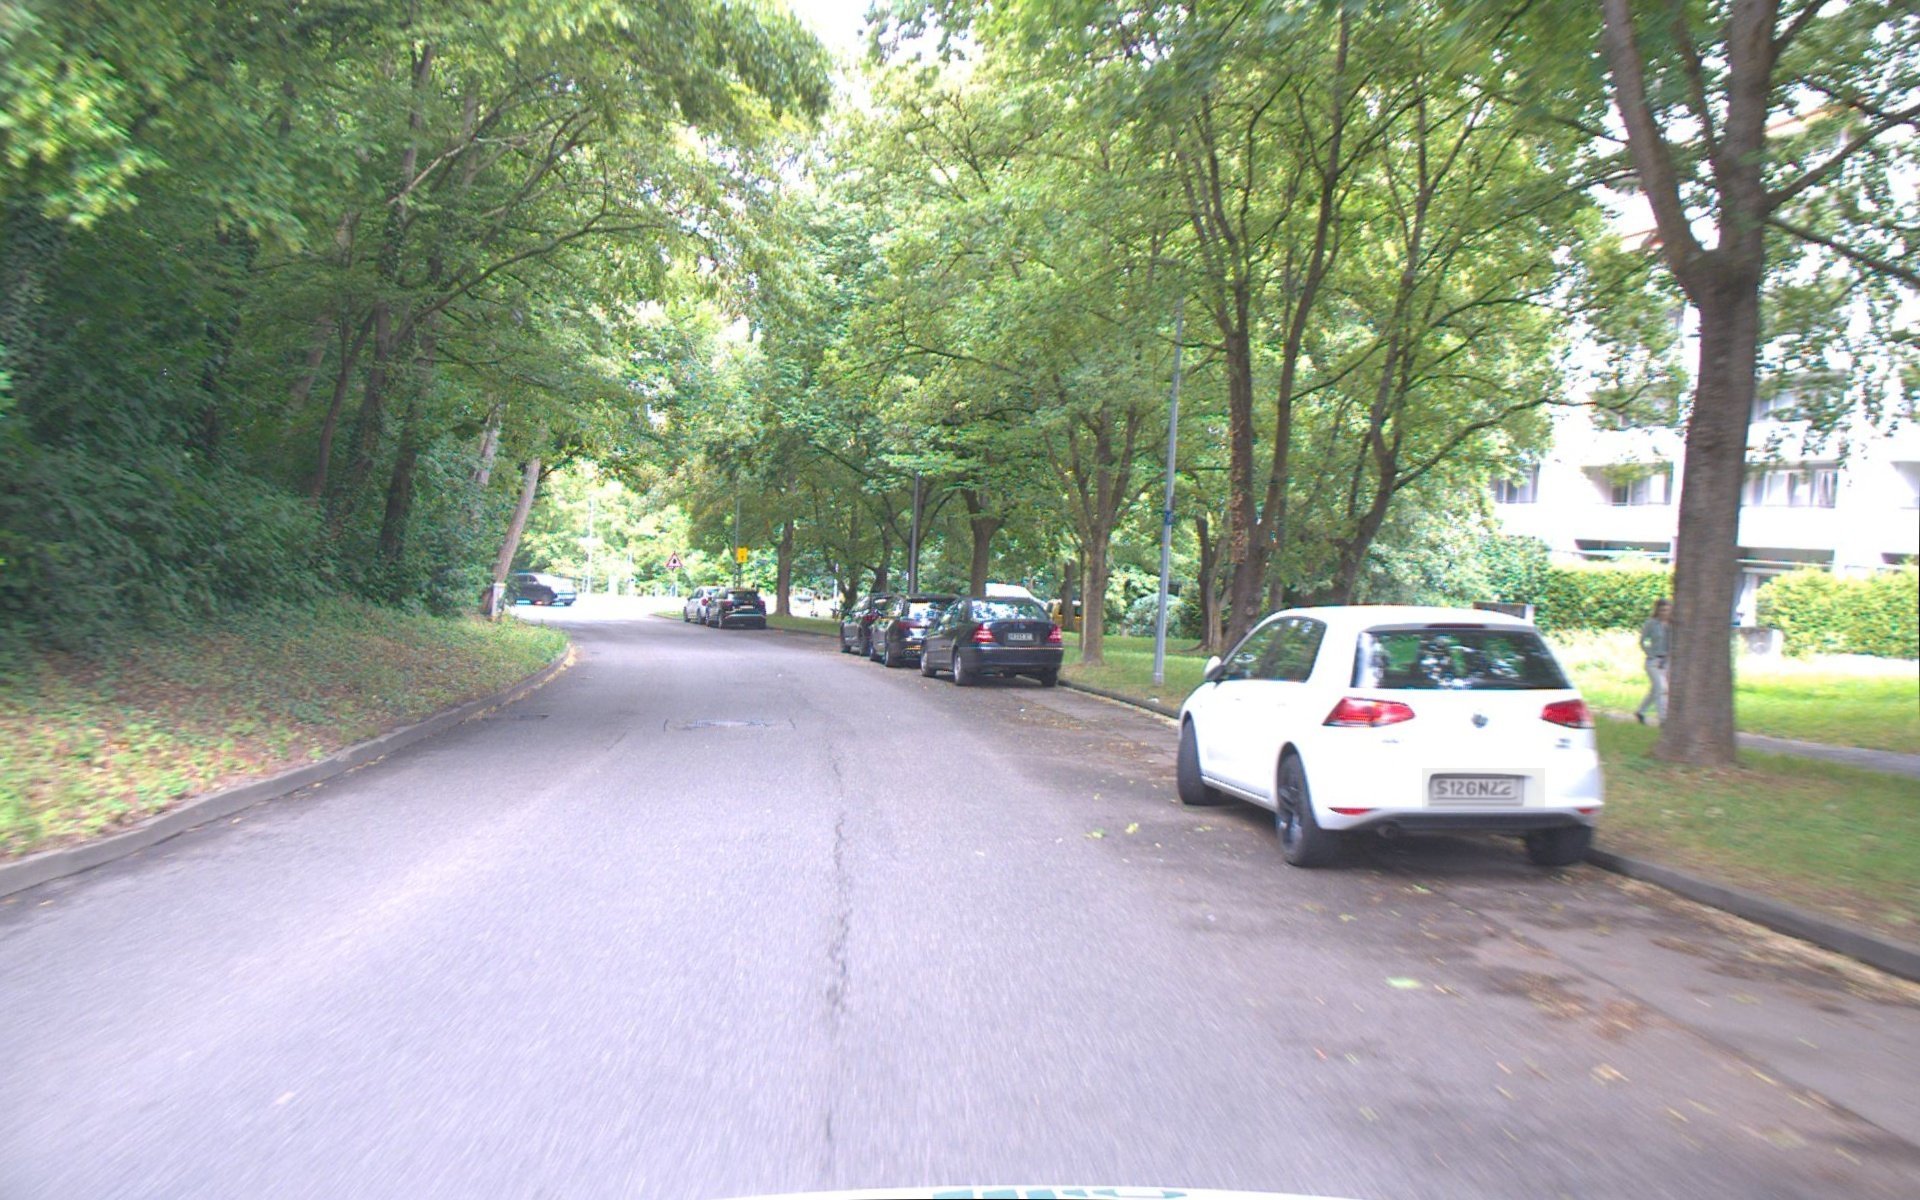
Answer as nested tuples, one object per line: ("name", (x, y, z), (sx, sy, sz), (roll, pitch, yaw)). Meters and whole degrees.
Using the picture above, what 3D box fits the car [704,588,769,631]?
("car", (-8.678, 0.338, 63.913), (1.746, 1.549, 4.162), (2, 0, -18))

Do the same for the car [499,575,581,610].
("car", (-22.483, -0.407, 88.541), (4.144, 1.715, 1.795), (2, 0, 31))

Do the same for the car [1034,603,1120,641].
("car", (6.389, 1.185, 90.562), (4.319, 1.881, 1.827), (2, 1, -12))

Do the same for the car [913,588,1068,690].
("car", (0.426, 0.594, 27.682), (1.562, 1.491, 4.302), (2, 1, -13))

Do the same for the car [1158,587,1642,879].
("car", (2.594, 0.698, 10.811), (1.656, 1.508, 4.101), (2, 0, -6))

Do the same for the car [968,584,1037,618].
("car", (2.773, 0.062, 108.565), (4.137, 2.049, 1.992), (2, 0, -16))

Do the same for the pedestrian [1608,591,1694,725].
("pedestrian", (8.873, 0.729, 21.260), (0.571, 1.680, 0.869), (2, 0, -16))

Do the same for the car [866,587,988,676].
("car", (-0.762, 0.588, 33.896), (1.878, 1.640, 4.725), (2, 0, -9))

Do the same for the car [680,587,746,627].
("car", (-10.176, 0.273, 68.042), (1.750, 1.549, 3.753), (2, 0, -24))

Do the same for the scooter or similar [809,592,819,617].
("scooter or similar", (-7.612, 0.228, 86.258), (0.278, 1.309, 1.102), (2, 0, -18))

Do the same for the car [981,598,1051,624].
("car", (3.559, 0.682, 105.678), (4.137, 1.525, 1.792), (2, 0, -16))

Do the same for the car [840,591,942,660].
("car", (-1.695, 0.567, 39.251), (1.654, 1.490, 3.884), (2, 0, -14))
